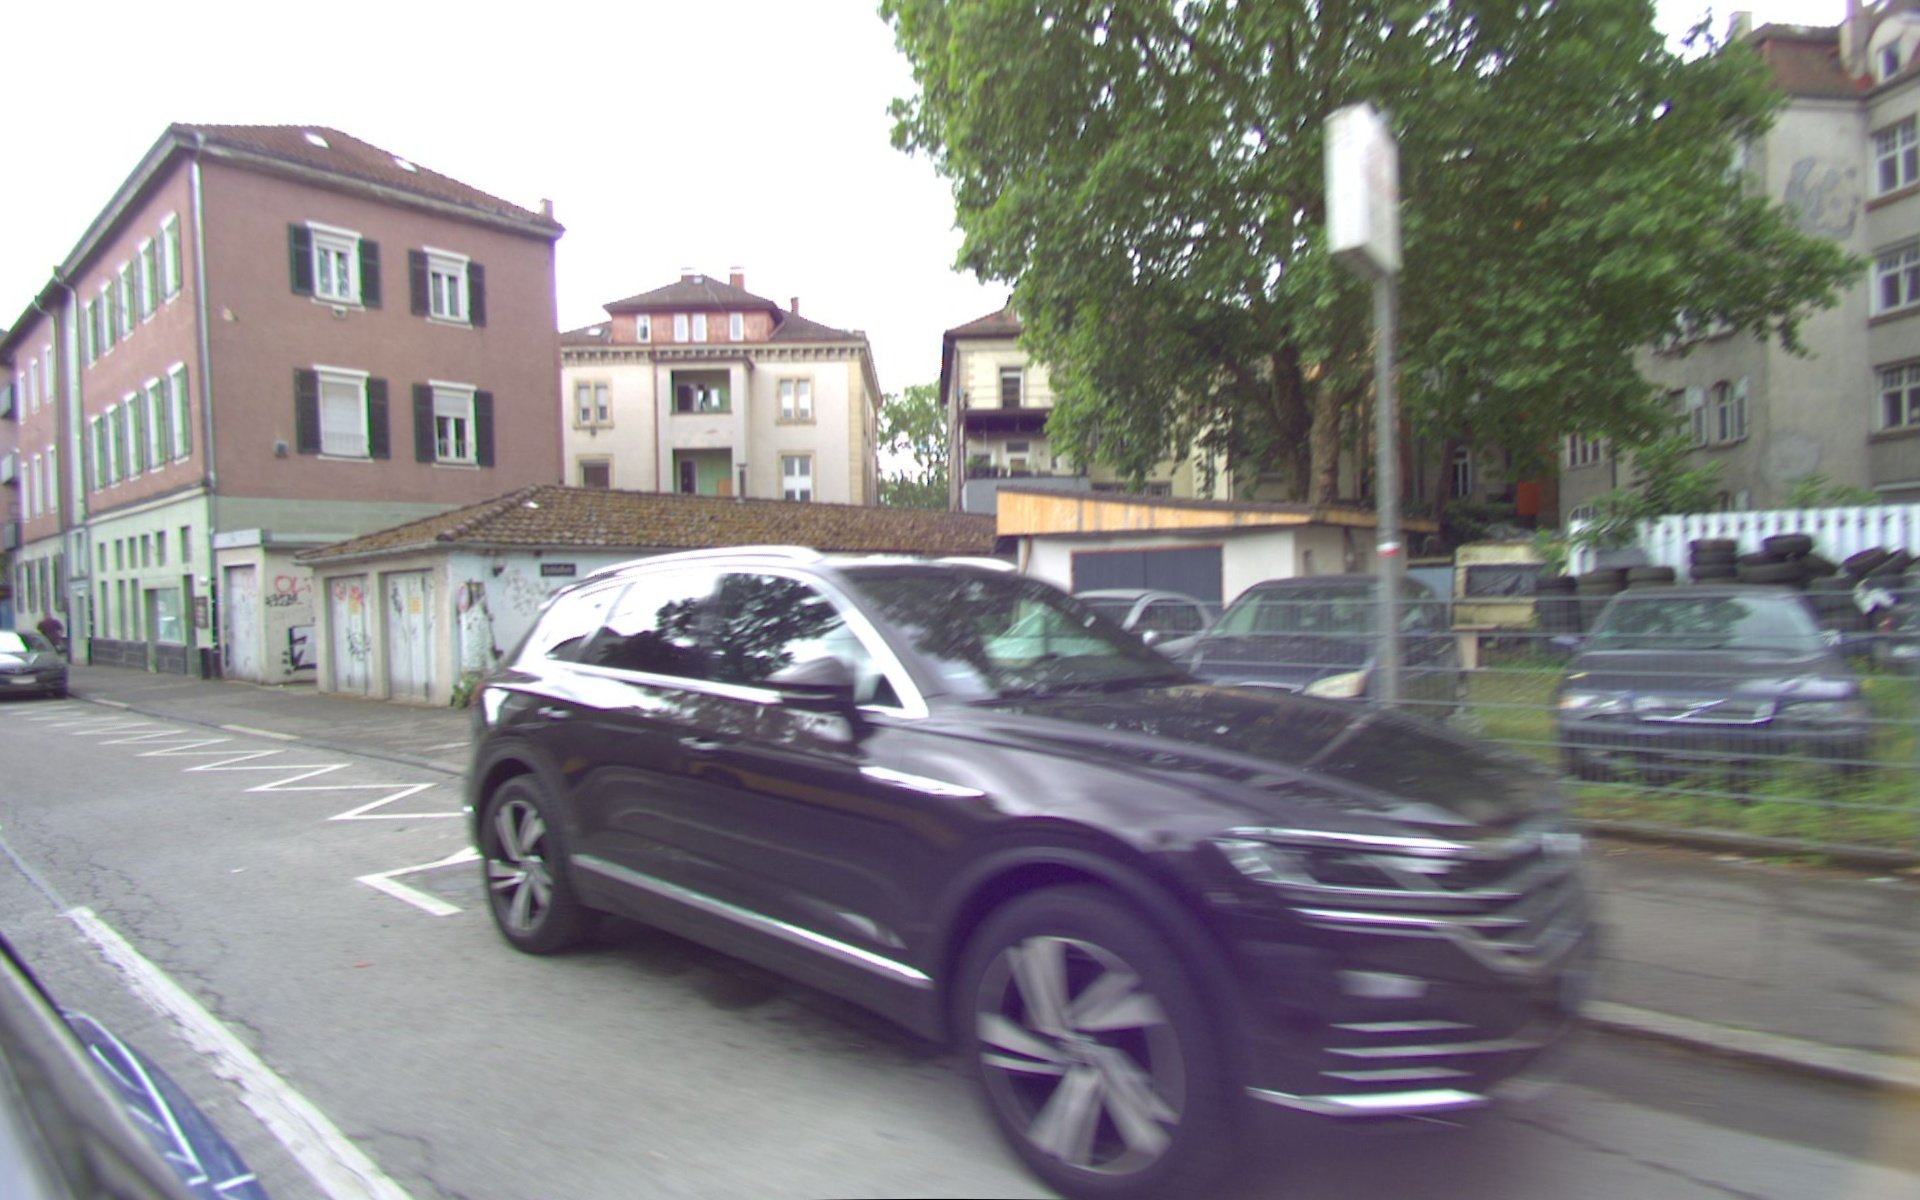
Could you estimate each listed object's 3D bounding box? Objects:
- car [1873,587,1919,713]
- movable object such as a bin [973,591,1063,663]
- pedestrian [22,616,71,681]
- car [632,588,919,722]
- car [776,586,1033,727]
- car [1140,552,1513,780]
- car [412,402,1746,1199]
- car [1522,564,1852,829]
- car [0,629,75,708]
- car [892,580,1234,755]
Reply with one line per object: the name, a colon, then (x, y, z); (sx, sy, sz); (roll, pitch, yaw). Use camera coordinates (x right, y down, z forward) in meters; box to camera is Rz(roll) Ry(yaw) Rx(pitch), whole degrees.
car: (12.246, 0.472, 10.631); (3.475, 1.384, 1.669); (-3, -1, 13)
movable object such as a bin: (1.351, 0.623, 23.388); (1.172, 1.494, 1.728); (-3, 2, 41)
pedestrian: (-25.708, 1.362, 28.481); (0.983, 1.757, 0.754); (-4, 1, 38)
car: (-2.554, 0.701, 14.601); (1.852, 1.655, 3.723); (-2, -1, 41)
car: (-0.655, 0.652, 13.020); (1.852, 1.577, 2.818); (-2, -1, 41)
car: (3.292, 0.457, 8.720); (1.852, 1.516, 3.559); (-2, -1, 41)
car: (-0.083, 0.620, 3.884); (4.770, 1.747, 1.934); (-3, 0, 41)
car: (5.357, 0.532, 7.317); (1.546, 1.425, 3.559); (-2, -1, 41)
car: (-20.624, 1.476, 21.685); (4.124, 1.497, 1.859); (-3, 2, 41)
car: (1.231, 0.604, 10.813); (1.852, 1.516, 3.684); (-2, -1, 41)
